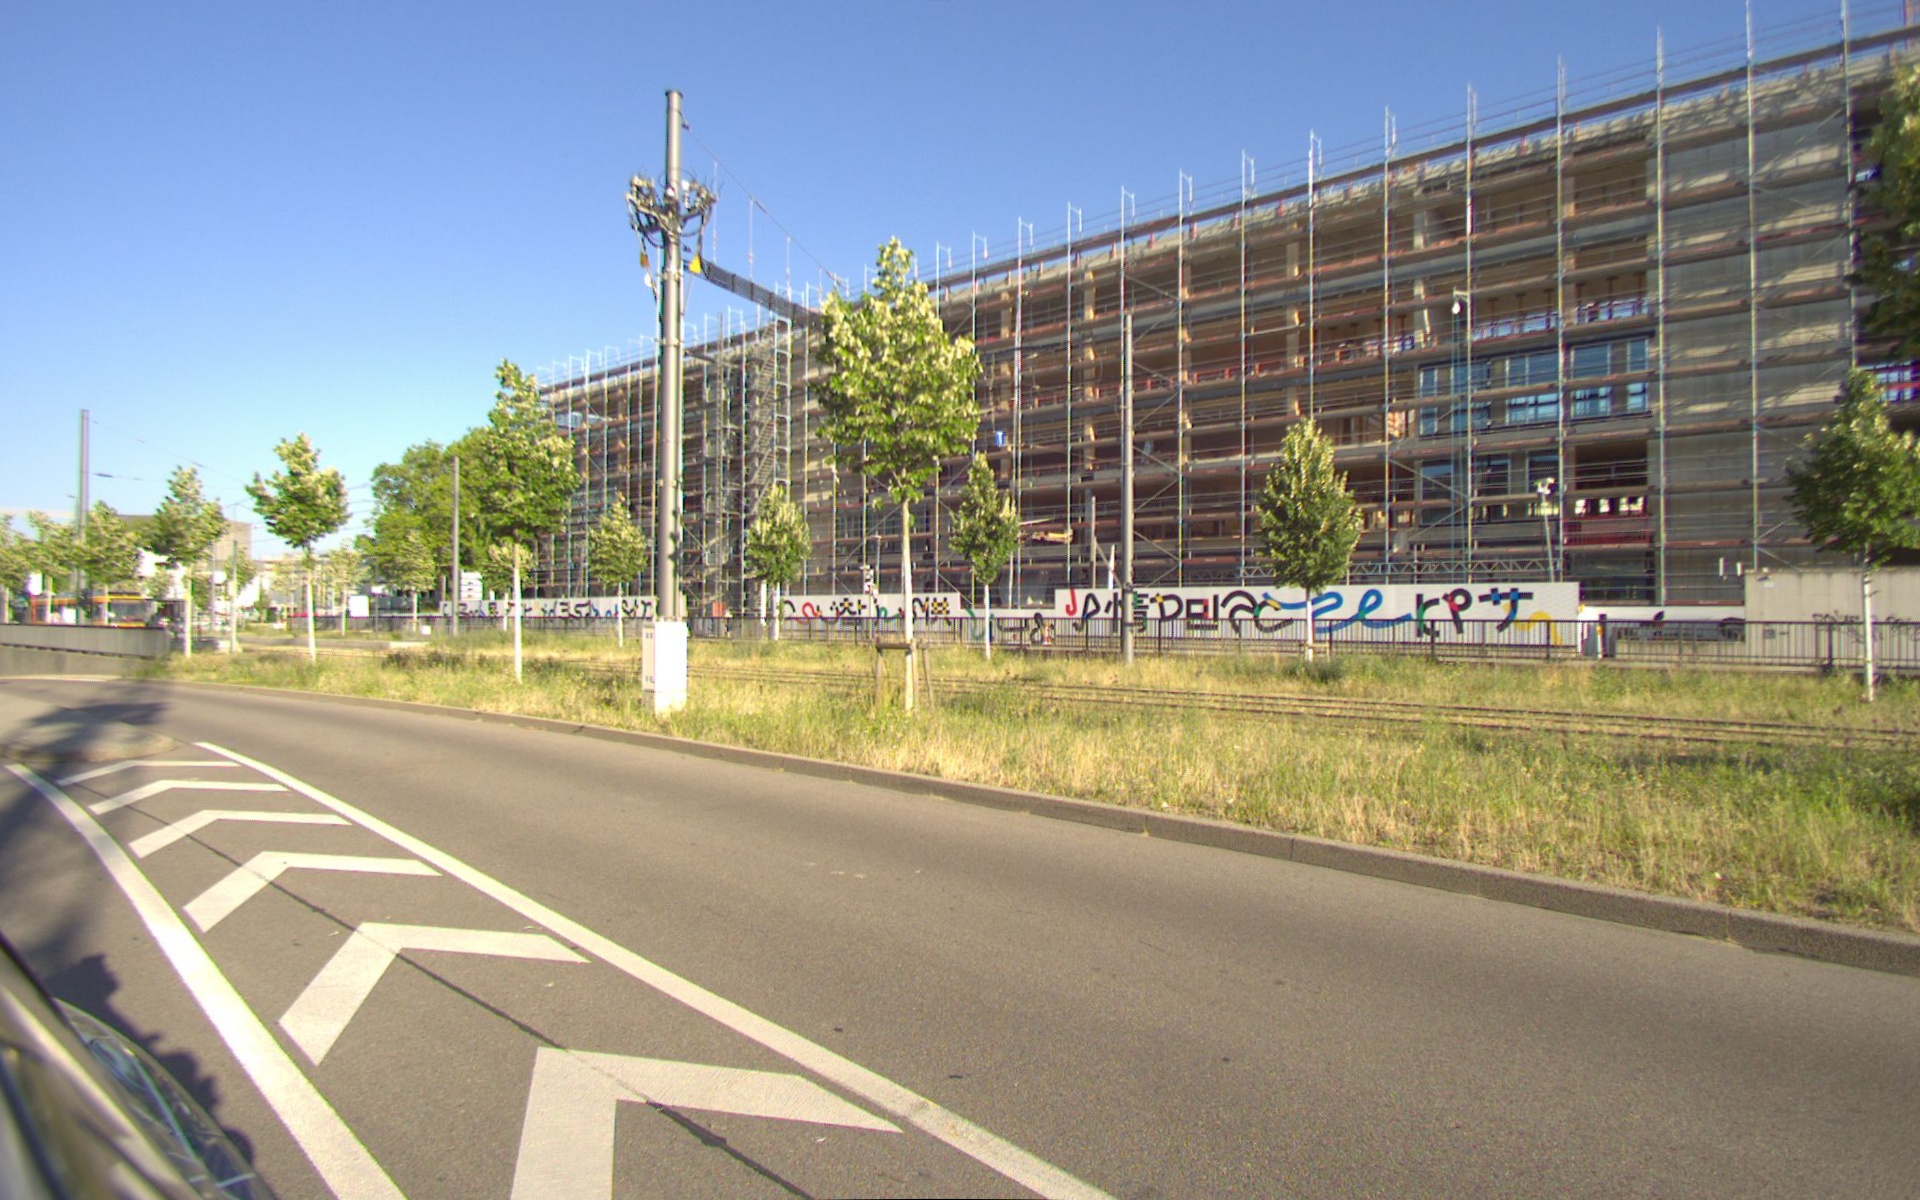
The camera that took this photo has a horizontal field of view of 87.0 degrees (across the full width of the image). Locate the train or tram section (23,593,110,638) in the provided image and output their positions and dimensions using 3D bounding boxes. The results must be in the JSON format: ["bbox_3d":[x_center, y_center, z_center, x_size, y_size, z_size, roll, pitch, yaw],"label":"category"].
[{"bbox_3d":[-73.302,1.265,82.886,14.749,3.423,2.917,-1,0,39],"label":"train or tram section"}]

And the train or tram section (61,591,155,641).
[{"bbox_3d":[-62.639,1.132,74.252,12.619,3.423,2.917,-1,0,39],"label":"train or tram section"}]
